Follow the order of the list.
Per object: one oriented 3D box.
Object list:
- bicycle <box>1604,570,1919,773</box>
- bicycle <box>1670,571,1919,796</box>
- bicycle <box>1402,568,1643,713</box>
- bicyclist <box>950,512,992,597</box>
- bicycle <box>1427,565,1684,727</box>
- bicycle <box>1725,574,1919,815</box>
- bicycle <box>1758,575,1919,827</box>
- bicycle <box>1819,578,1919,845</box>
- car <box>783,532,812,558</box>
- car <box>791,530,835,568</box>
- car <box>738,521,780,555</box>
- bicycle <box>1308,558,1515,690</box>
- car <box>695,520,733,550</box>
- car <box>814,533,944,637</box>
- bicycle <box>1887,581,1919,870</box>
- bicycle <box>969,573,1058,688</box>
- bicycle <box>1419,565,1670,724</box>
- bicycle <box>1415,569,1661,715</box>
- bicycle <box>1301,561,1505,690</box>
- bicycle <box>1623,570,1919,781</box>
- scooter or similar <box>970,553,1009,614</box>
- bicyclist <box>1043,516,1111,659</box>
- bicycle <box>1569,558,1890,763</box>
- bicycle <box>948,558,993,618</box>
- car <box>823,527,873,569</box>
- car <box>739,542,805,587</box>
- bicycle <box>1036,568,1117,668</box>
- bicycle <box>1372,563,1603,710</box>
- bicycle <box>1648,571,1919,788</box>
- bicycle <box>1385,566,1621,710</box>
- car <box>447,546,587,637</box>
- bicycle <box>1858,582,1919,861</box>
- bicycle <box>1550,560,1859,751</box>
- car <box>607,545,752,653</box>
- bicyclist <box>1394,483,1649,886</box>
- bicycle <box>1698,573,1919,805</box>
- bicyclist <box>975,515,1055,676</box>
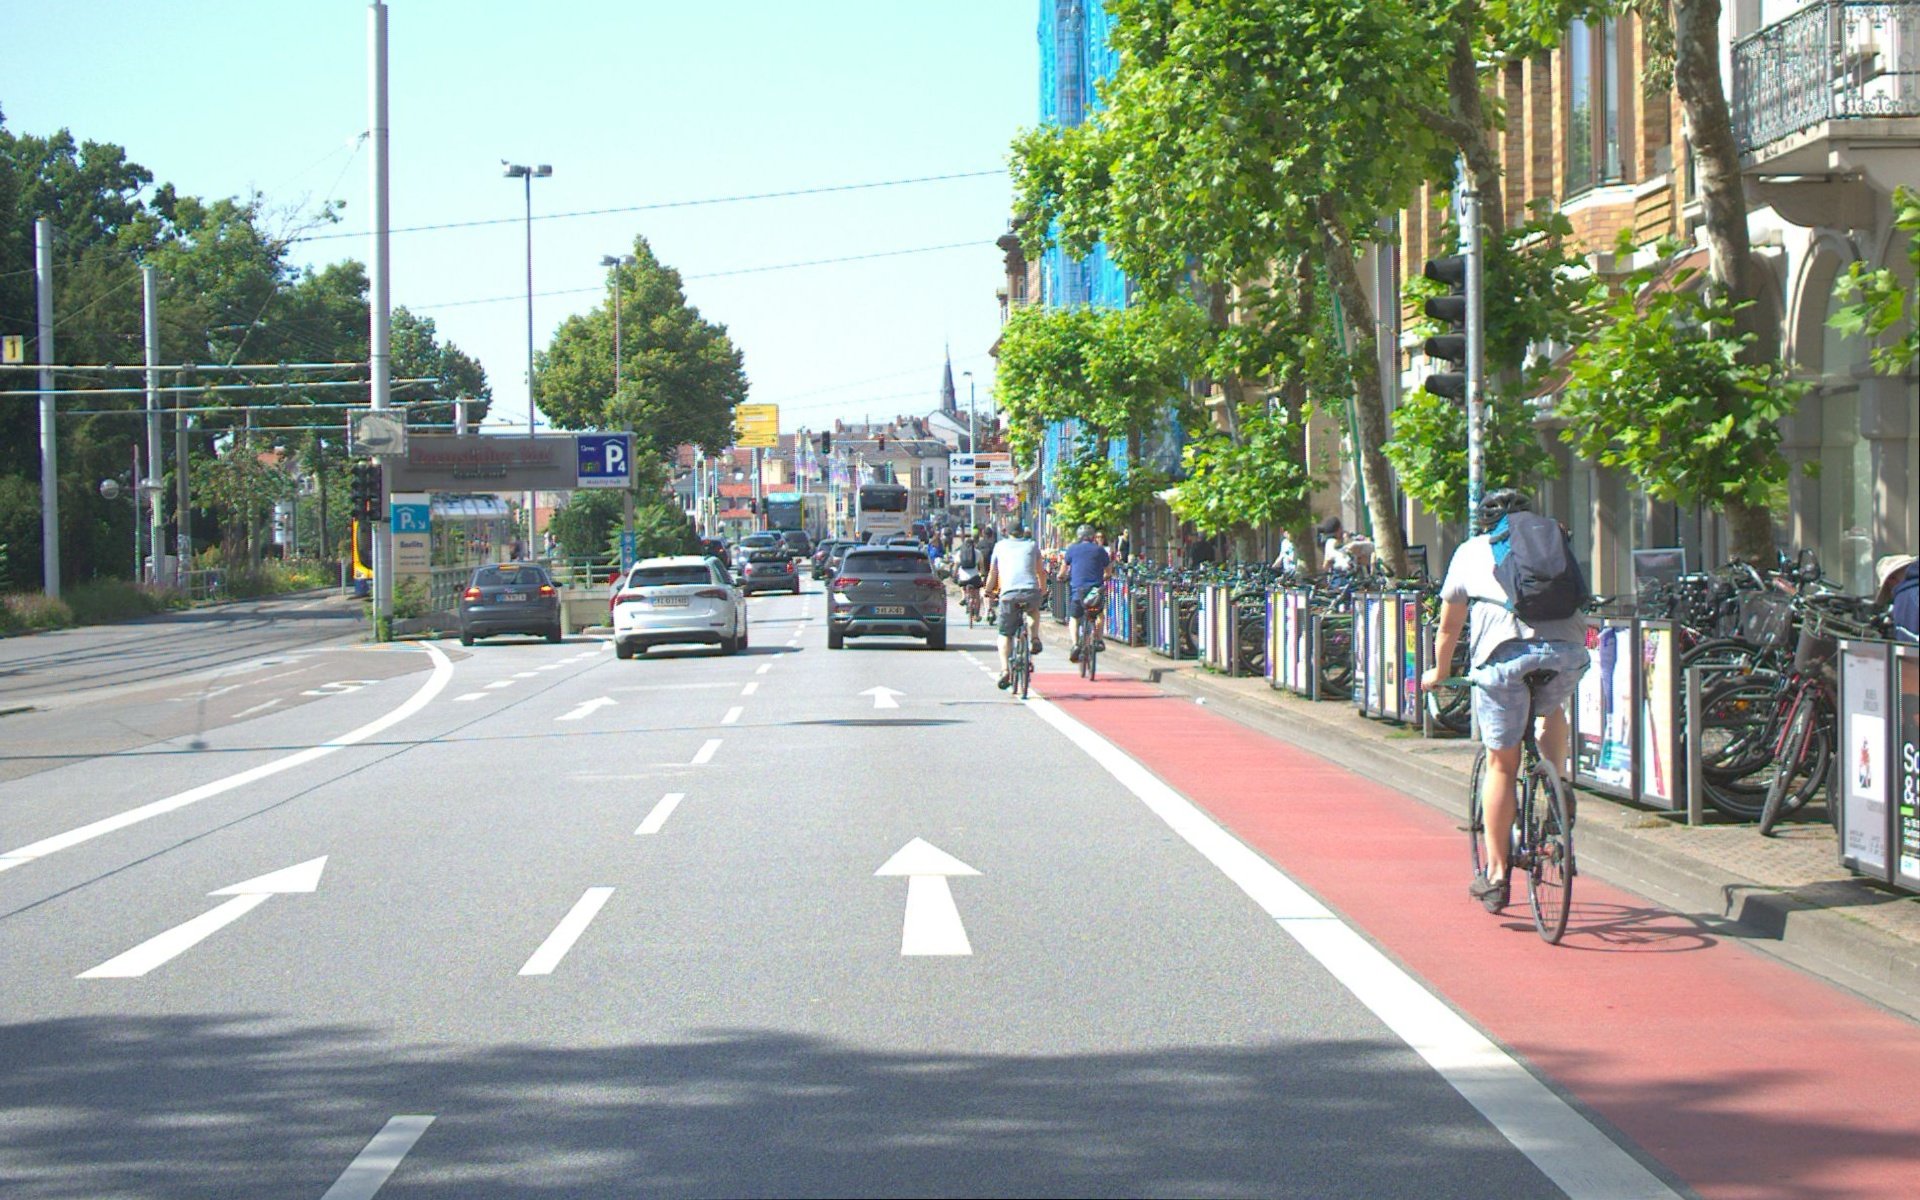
[{"bbox_3d":[4.639,0.402,19.823,1.752,1.143,0.483,0,1,-4],"label":"bicycle"},{"bbox_3d":[4.630,0.427,17.922,1.752,1.143,0.483,0,1,-4],"label":"bicycle"},{"bbox_3d":[4.295,0.302,26.306,1.752,1.084,0.483,0,1,-4],"label":"bicycle"},{"bbox_3d":[0.204,-0.856,65.014,0.688,1.571,1.050,1,1,-3],"label":"bicyclist"},{"bbox_3d":[4.280,0.325,24.740,1.752,1.143,0.483,0,1,-4],"label":"bicycle"},{"bbox_3d":[4.689,0.446,16.806,1.752,1.143,0.593,0,1,-4],"label":"bicycle"},{"bbox_3d":[4.690,0.458,16.109,1.752,1.143,0.593,0,1,-4],"label":"bicycle"},{"bbox_3d":[4.739,0.473,15.150,1.752,1.143,0.593,0,1,-4],"label":"bicycle"},{"bbox_3d":[-8.284,-2.790,175.016,1.451,1.296,3.342,1,1,-3],"label":"car"},{"bbox_3d":[-5.297,-1.835,123.570,1.451,1.296,3.342,1,1,-4],"label":"car"},{"bbox_3d":[-7.880,-2.419,135.081,1.451,1.296,4.000,1,1,-1],"label":"car"},{"bbox_3d":[3.995,0.206,30.469,1.752,1.143,0.483,0,1,-4],"label":"bicycle"},{"bbox_3d":[-10.920,-2.867,152.558,1.451,1.296,4.000,1,1,-1],"label":"car"},{"bbox_3d":[-1.213,-0.247,52.124,1.873,1.487,4.000,-1,1,-1],"label":"car"},{"bbox_3d":[4.683,0.495,13.813,1.752,1.143,0.593,0,1,-4],"label":"bicycle"},{"bbox_3d":[0.526,0.292,34.661,0.734,1.089,1.898,1,1,-3],"label":"bicycle"},{"bbox_3d":[4.288,0.317,25.255,1.752,1.143,0.483,0,1,-4],"label":"bicycle"},{"bbox_3d":[4.330,0.309,25.799,1.752,1.065,0.483,0,1,-4],"label":"bicycle"},{"bbox_3d":[4.002,0.225,31.093,1.752,1.143,0.527,0,1,-4],"label":"bicycle"},{"bbox_3d":[4.629,0.412,19.185,1.752,1.143,0.483,0,1,-4],"label":"bicycle"},{"bbox_3d":[0.582,-0.334,67.885,0.688,1.163,1.464,1,1,-2],"label":"scooter or similar"},{"bbox_3d":[1.334,-0.147,39.476,0.688,1.611,0.918,1,1,-1],"label":"bicyclist"},{"bbox_3d":[4.567,0.353,20.443,1.799,1.190,0.483,0,1,-4],"label":"bicycle"},{"bbox_3d":[0.196,-0.238,64.941,0.734,1.089,1.898,1,1,-3],"label":"bicycle"},{"bbox_3d":[-3.619,-1.682,110.810,1.451,1.296,3.342,1,1,-4],"label":"car"},{"bbox_3d":[-5.718,-1.096,104.866,1.815,1.328,4.000,1,1,-1],"label":"car"},{"bbox_3d":[1.329,0.195,39.612,0.734,1.089,1.911,1,1,-3],"label":"bicycle"},{"bbox_3d":[4.202,0.284,27.403,1.752,1.143,0.483,0,1,-4],"label":"bicycle"},{"bbox_3d":[4.639,0.421,18.548,1.752,1.143,0.483,0,1,-4],"label":"bicycle"},{"bbox_3d":[4.237,0.294,26.873,1.752,1.101,0.483,0,1,-4],"label":"bicycle"},{"bbox_3d":[-7.788,-0.177,60.695,1.993,1.503,4.000,1,1,-1],"label":"car"},{"bbox_3d":[4.690,0.494,14.430,1.702,1.143,0.519,0,1,-4],"label":"bicycle"},{"bbox_3d":[4.537,0.330,20.987,1.773,1.143,0.483,0,1,-4],"label":"bicycle"},{"bbox_3d":[-4.110,-0.046,50.911,1.858,1.502,4.000,1,1,-1],"label":"car"},{"bbox_3d":[2.123,0.300,13.124,0.688,1.458,1.143,1,1,-3],"label":"bicyclist"},{"bbox_3d":[4.659,0.437,17.377,1.752,1.143,0.483,0,1,-4],"label":"bicycle"},{"bbox_3d":[0.542,-0.050,34.461,0.688,1.571,1.050,1,1,-3],"label":"bicyclist"}]
